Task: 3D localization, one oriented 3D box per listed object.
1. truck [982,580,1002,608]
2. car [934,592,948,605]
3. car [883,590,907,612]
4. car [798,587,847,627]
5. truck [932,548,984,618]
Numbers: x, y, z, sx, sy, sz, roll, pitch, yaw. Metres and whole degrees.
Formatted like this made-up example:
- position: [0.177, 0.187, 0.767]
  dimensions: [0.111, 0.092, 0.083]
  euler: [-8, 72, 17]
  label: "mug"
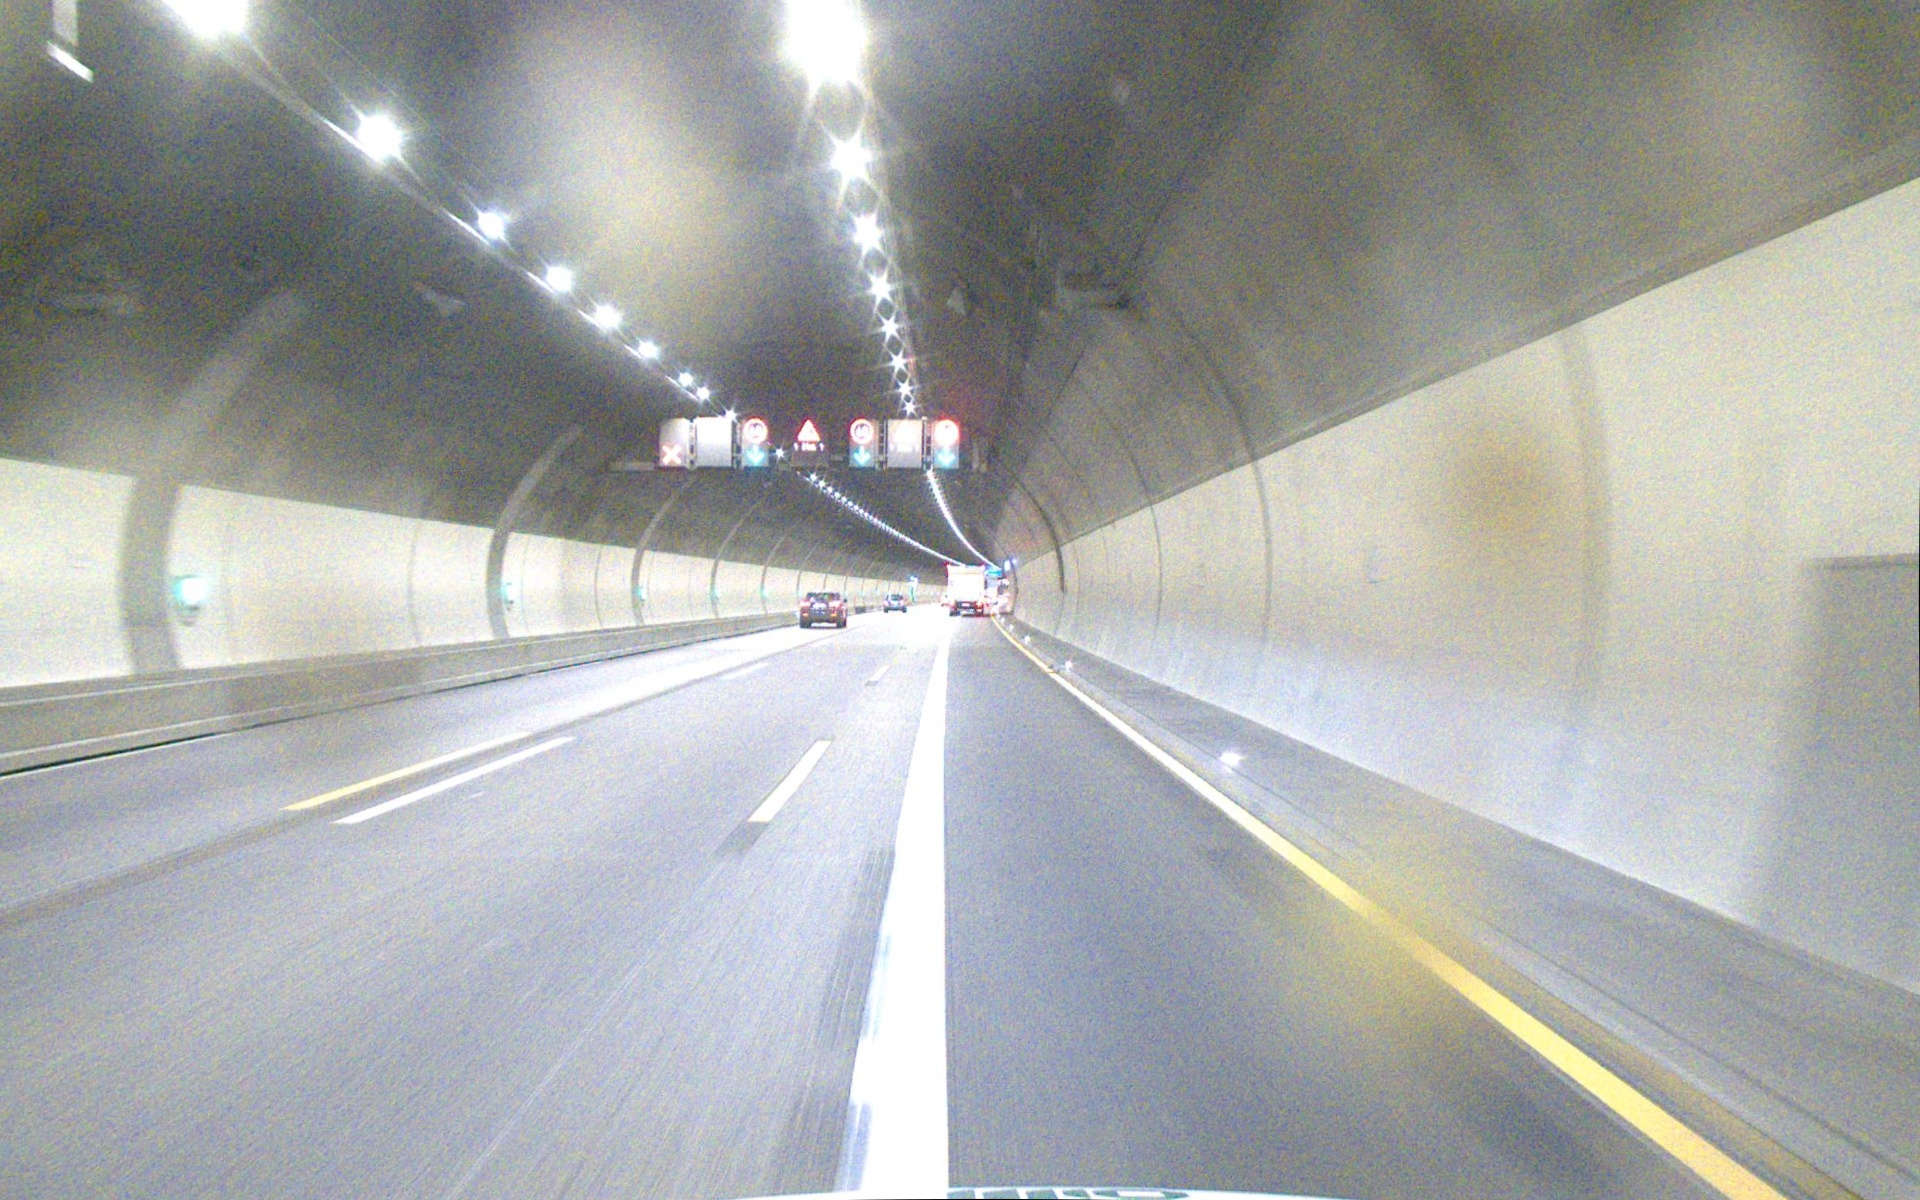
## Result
- position: [4.691, -0.898, 247.719]
  dimensions: [2.862, 4.118, 14.030]
  euler: [-1, 0, 1]
  label: "truck"
- position: [-2.203, -0.161, 191.494]
  dimensions: [1.617, 1.297, 4.000]
  euler: [1, 2, -1]
  label: "car"
- position: [-5.044, 0.043, 128.624]
  dimensions: [1.776, 1.546, 4.000]
  euler: [1, 2, -1]
  label: "car"
- position: [-5.844, 0.258, 70.720]
  dimensions: [1.775, 1.646, 4.000]
  euler: [1, 0, 0]
  label: "car"
- position: [-0.274, -1.184, 122.072]
  dimensions: [3.212, 4.731, 17.279]
  euler: [-1, 0, -2]
  label: "truck"
